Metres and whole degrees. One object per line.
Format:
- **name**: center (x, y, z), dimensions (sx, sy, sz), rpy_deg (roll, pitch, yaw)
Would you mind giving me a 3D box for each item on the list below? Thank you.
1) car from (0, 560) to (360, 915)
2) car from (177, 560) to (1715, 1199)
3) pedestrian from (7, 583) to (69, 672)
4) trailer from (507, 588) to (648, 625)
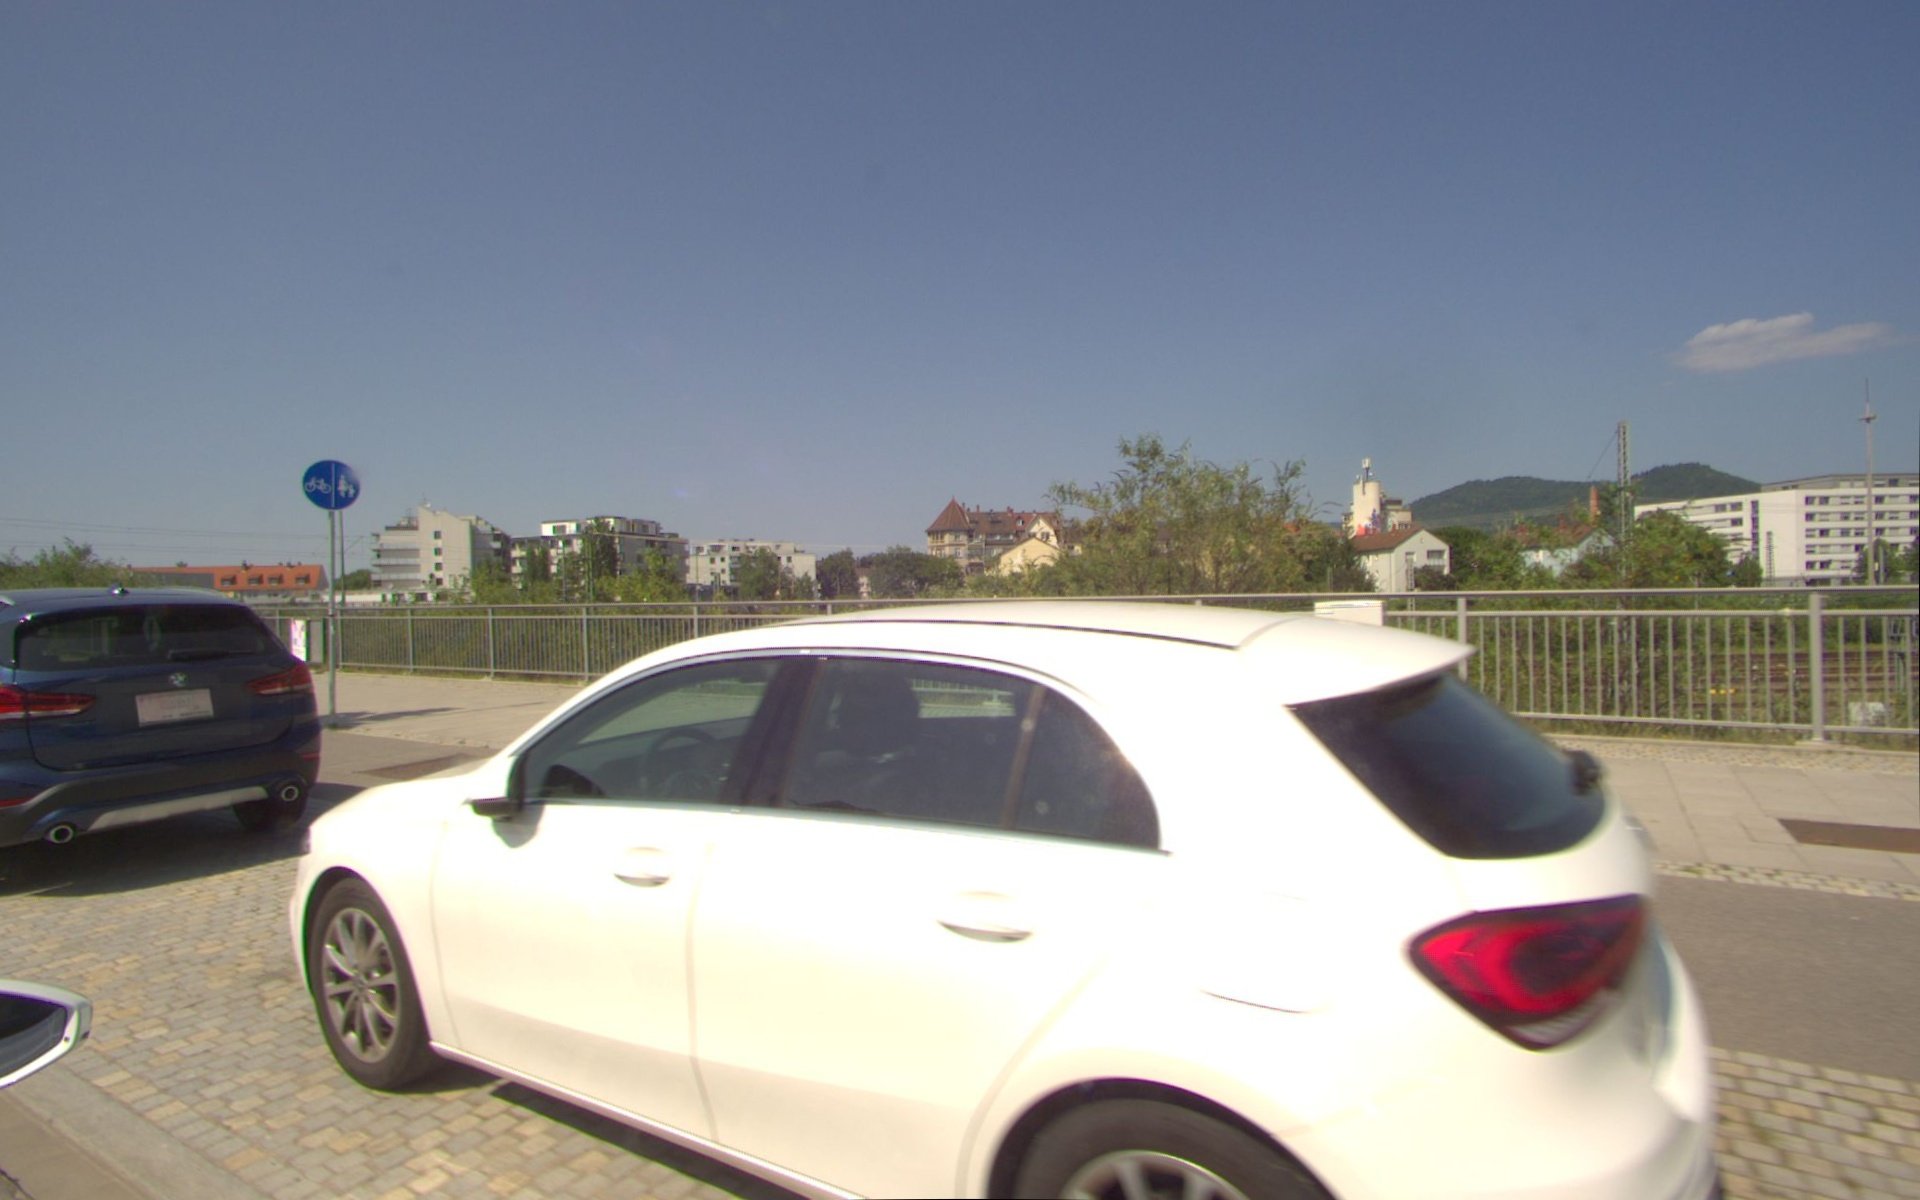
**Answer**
- **car**: center (-6.008, 0.683, 6.576), dimensions (4.210, 1.706, 1.799), rpy_deg (-1, 1, 32)
- **car**: center (-0.428, 0.682, 3.053), dimensions (4.210, 1.392, 1.701), rpy_deg (-1, 3, 32)
- **pedestrian**: center (-19.632, 0.586, 21.317), dimensions (0.872, 1.853, 0.757), rpy_deg (-1, -1, 33)
- **trailer**: center (-38.773, 0.826, 102.932), dimensions (3.674, 3.244, 17.240), rpy_deg (-1, -2, 17)
